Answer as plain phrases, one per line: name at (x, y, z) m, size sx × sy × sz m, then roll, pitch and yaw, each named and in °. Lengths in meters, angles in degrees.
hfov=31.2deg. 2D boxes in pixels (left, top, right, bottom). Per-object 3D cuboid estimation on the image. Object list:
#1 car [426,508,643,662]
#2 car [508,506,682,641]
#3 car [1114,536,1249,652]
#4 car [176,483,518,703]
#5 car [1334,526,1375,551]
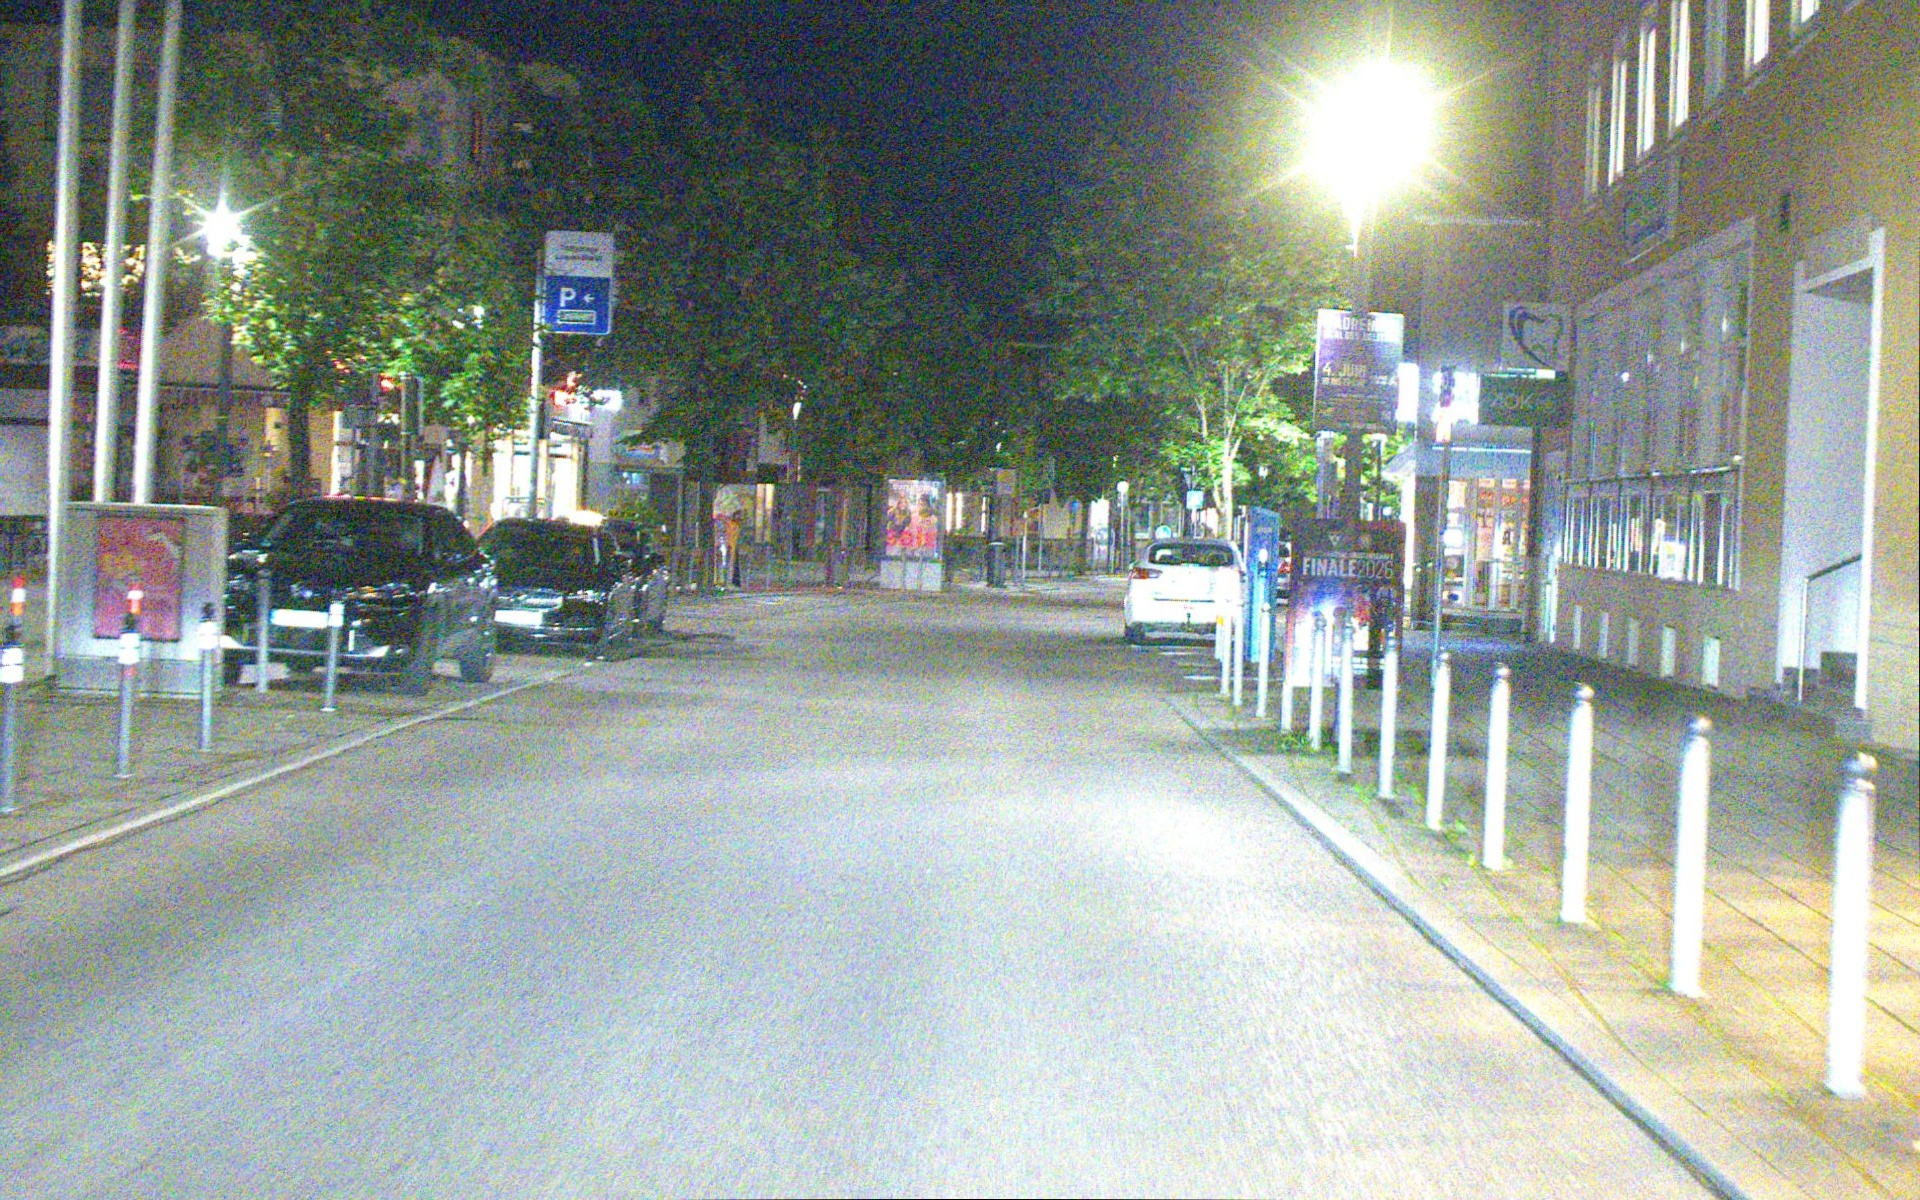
car at (-4.734, -0.218, 38.830) m, size 1.905 × 1.536 × 4.782 m, roll 3°, pitch 1°, yaw -2°
car at (-4.780, -0.387, 45.621) m, size 1.758 × 1.631 × 4.815 m, roll 2°, pitch 1°, yaw 0°
car at (3.080, -0.092, 47.973) m, size 1.742 × 1.482 × 4.636 m, roll 2°, pitch 0°, yaw 3°
car at (-4.940, -0.087, 28.338) m, size 1.771 × 1.568 × 4.483 m, roll 3°, pitch 1°, yaw 2°
car at (23.848, -3.746, 207.811) m, size 1.915 × 1.366 × 4.455 m, roll 2°, pitch 2°, yaw 13°
